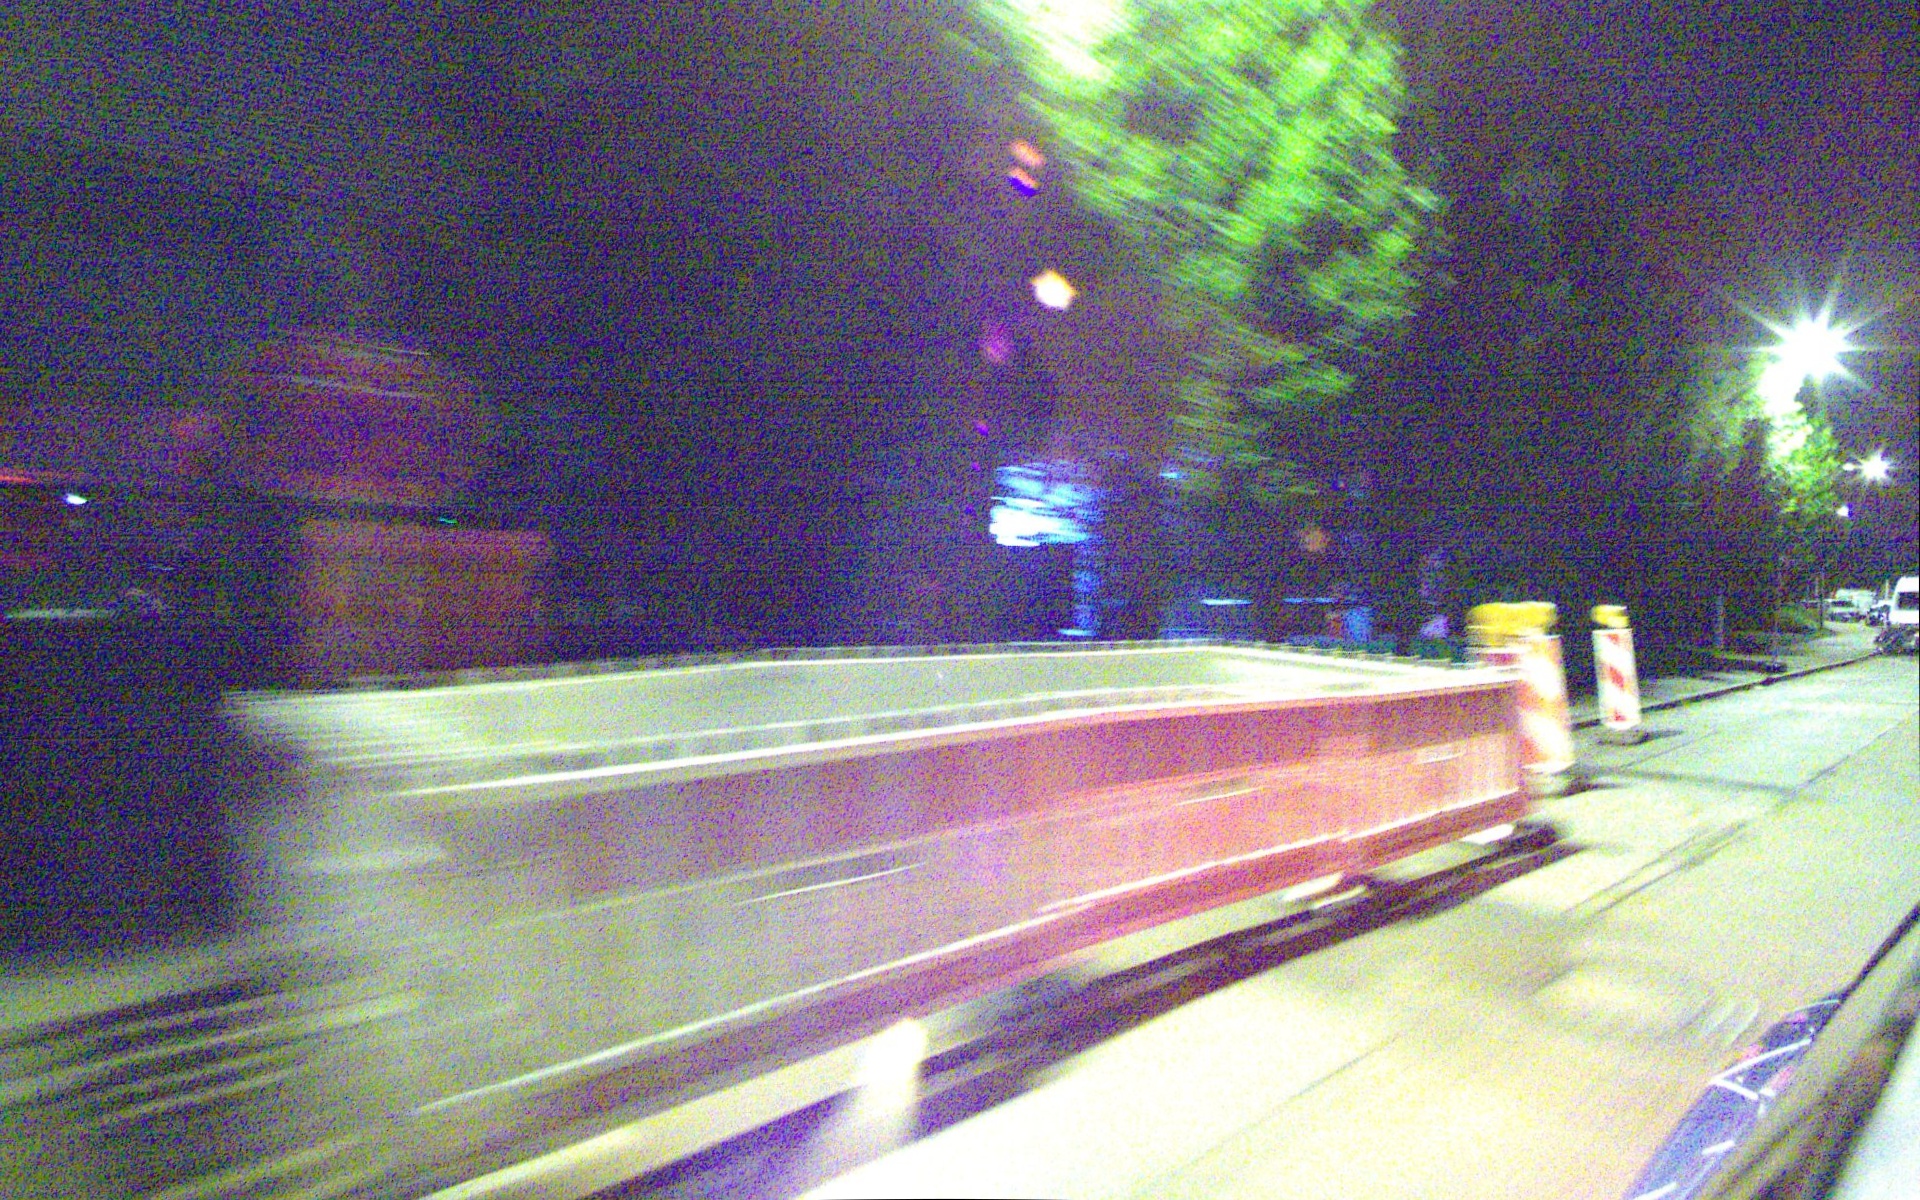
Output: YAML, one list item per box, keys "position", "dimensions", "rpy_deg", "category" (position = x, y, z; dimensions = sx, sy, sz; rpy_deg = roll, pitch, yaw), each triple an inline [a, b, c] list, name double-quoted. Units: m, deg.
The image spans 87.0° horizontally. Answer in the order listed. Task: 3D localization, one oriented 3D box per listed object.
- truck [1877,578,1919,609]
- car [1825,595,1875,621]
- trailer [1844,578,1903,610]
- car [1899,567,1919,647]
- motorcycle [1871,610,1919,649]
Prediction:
- position: [89.692, -0.592, 95.955]
  dimensions: [1.979, 2.819, 7.182]
  rpy_deg: [1, 1, 25]
  category: "truck"
- position: [74.041, 0.661, 84.270]
  dimensions: [1.983, 2.039, 5.298]
  rpy_deg: [-1, -1, 29]
  category: "car"
- position: [93.592, -0.580, 103.829]
  dimensions: [2.467, 3.111, 7.877]
  rpy_deg: [1, 1, 27]
  category: "trailer"
- position: [33.298, 0.216, 33.979]
  dimensions: [5.947, 2.559, 2.023]
  rpy_deg: [0, 0, -42]
  category: "car"
- position: [29.908, 0.907, 31.570]
  dimensions: [0.753, 1.198, 2.189]
  rpy_deg: [0, 0, -10]
  category: "motorcycle"
